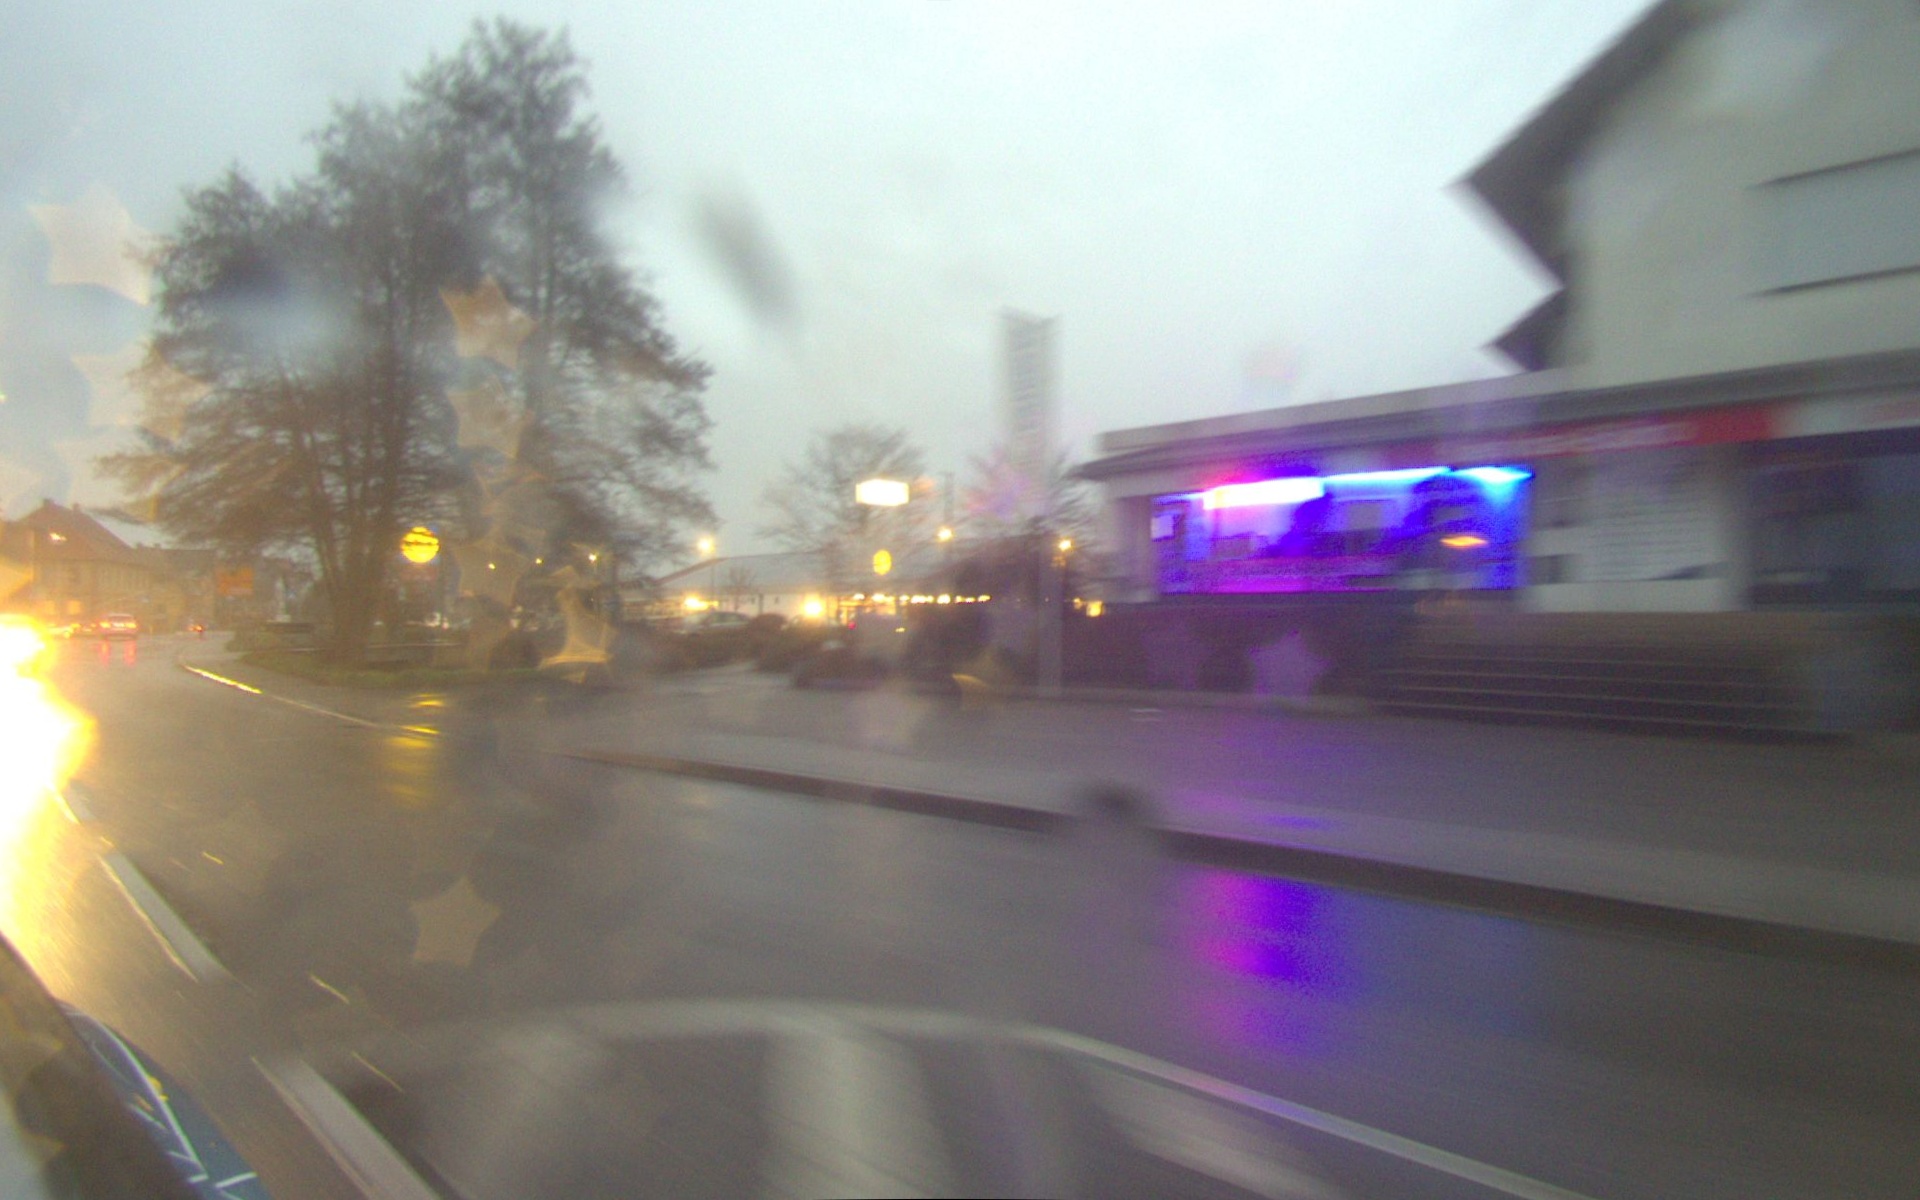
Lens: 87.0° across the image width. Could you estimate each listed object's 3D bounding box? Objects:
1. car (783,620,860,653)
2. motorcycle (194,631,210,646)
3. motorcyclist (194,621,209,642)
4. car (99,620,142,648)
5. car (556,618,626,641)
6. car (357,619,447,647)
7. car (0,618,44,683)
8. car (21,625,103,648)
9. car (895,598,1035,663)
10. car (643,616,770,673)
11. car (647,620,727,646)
[{"bbox_3d":[-7.585,1.988,55.189,3.996,1.629,1.893,-3,-2,39],"label":"car"},{"bbox_3d":[-55.189,2.796,73.679,0.854,1.031,2.115,0,0,-35],"label":"motorcycle"},{"bbox_3d":[-55.187,2.291,73.670,0.854,1.496,0.911,0,-1,-35],"label":"motorcyclist"},{"bbox_3d":[-54.435,2.203,65.700,1.748,1.736,4.432,1,-2,-35],"label":"car"},{"bbox_3d":[-27.132,2.228,74.487,2.055,1.575,4.382,-3,-4,42],"label":"car"},{"bbox_3d":[-36.221,2.104,65.756,2.032,1.725,4.719,-2,-2,41],"label":"car"},{"bbox_3d":[-27.352,1.410,28.432,1.869,1.712,4.250,-3,1,-36],"label":"car"},{"bbox_3d":[-60.962,2.491,68.755,3.986,1.506,1.777,0,-1,1],"label":"car"},{"bbox_3d":[0.128,1.198,39.023,5.271,2.296,2.255,-3,-1,44],"label":"car"},{"bbox_3d":[-10.089,1.751,40.561,2.124,1.992,4.603,-3,-1,37],"label":"car"},{"bbox_3d":[-17.028,2.103,63.280,2.055,1.575,4.382,-3,-4,42],"label":"car"}]
